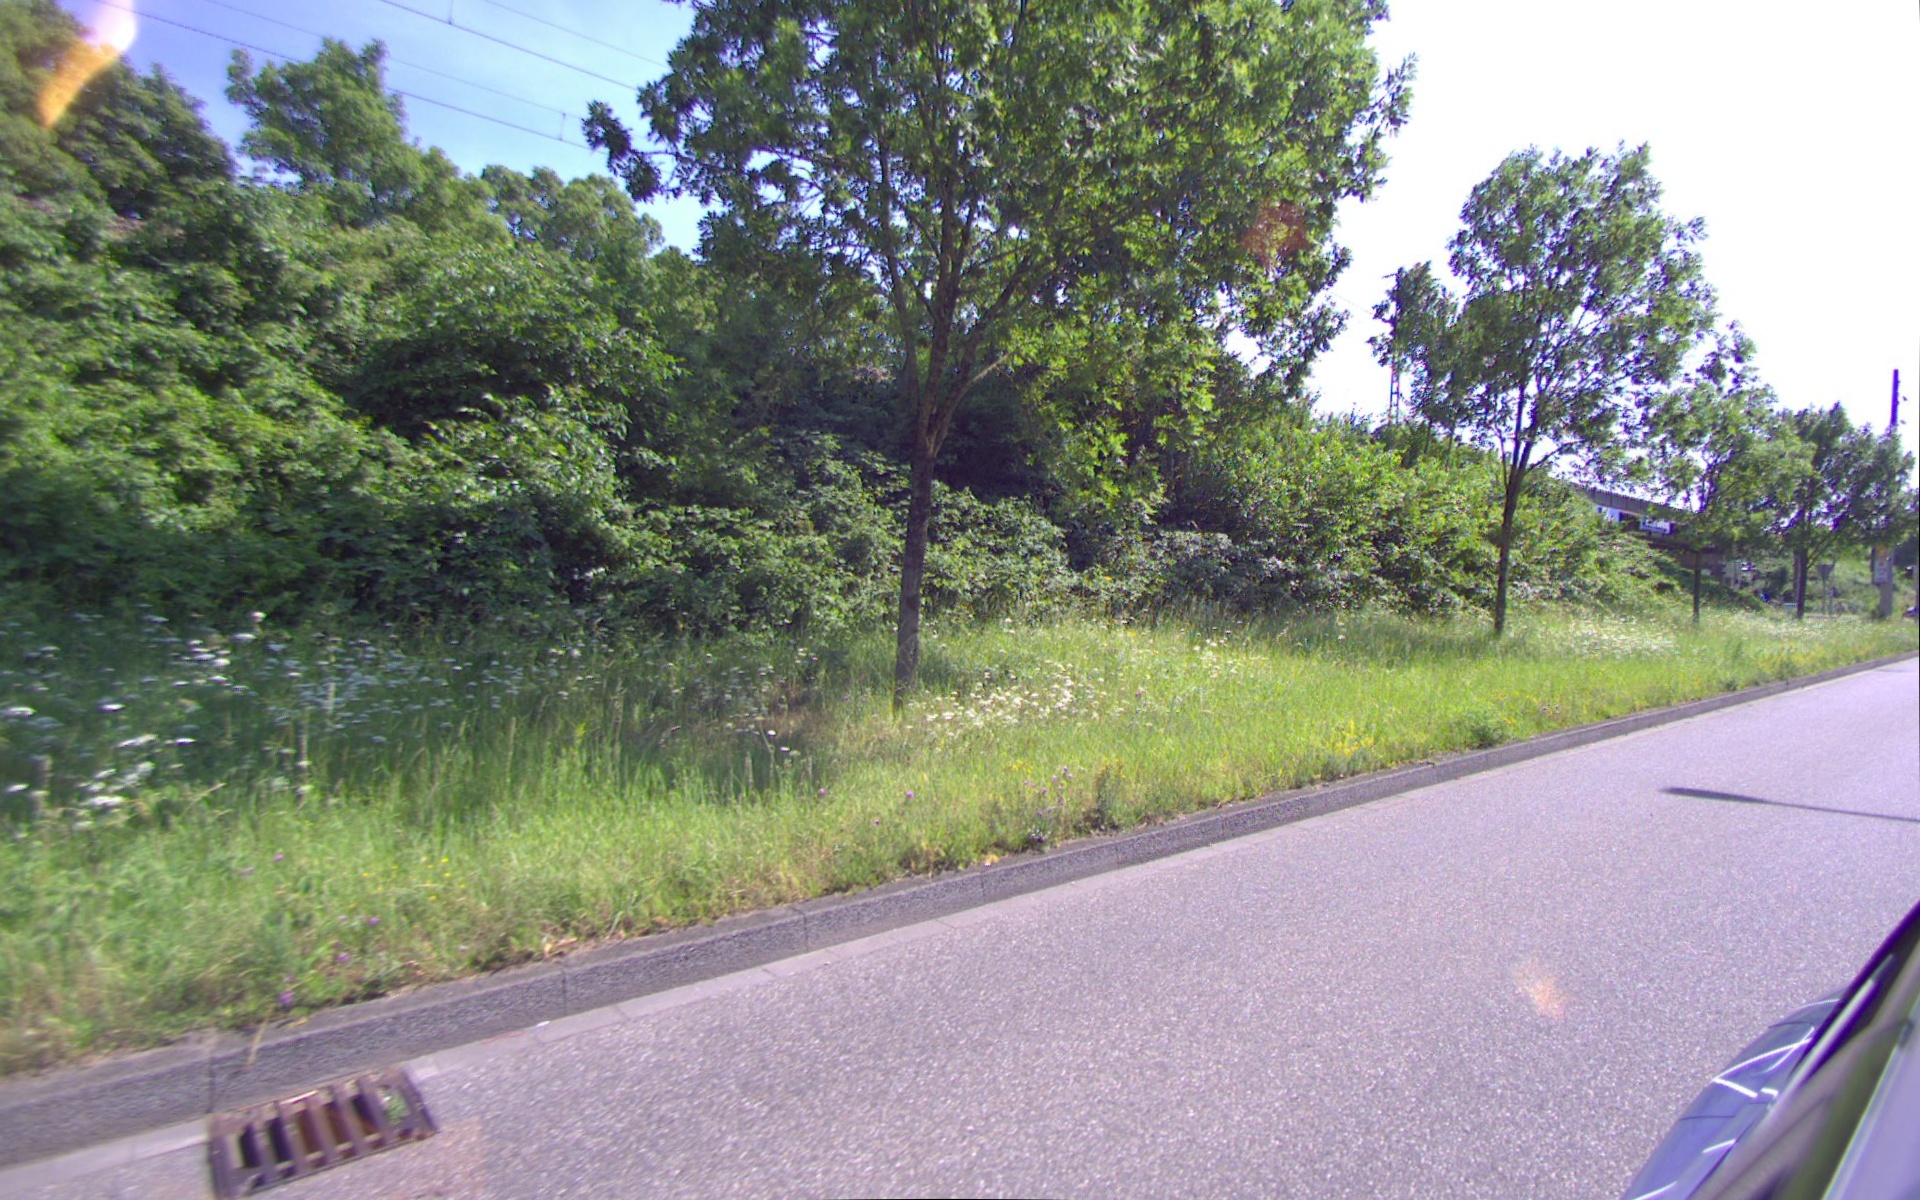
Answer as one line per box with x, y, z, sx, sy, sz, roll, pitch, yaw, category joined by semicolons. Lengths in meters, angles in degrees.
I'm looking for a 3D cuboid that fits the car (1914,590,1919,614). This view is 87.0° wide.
68.469;0.249;69.398;3.946;1.649;1.763;2;2;17;car
